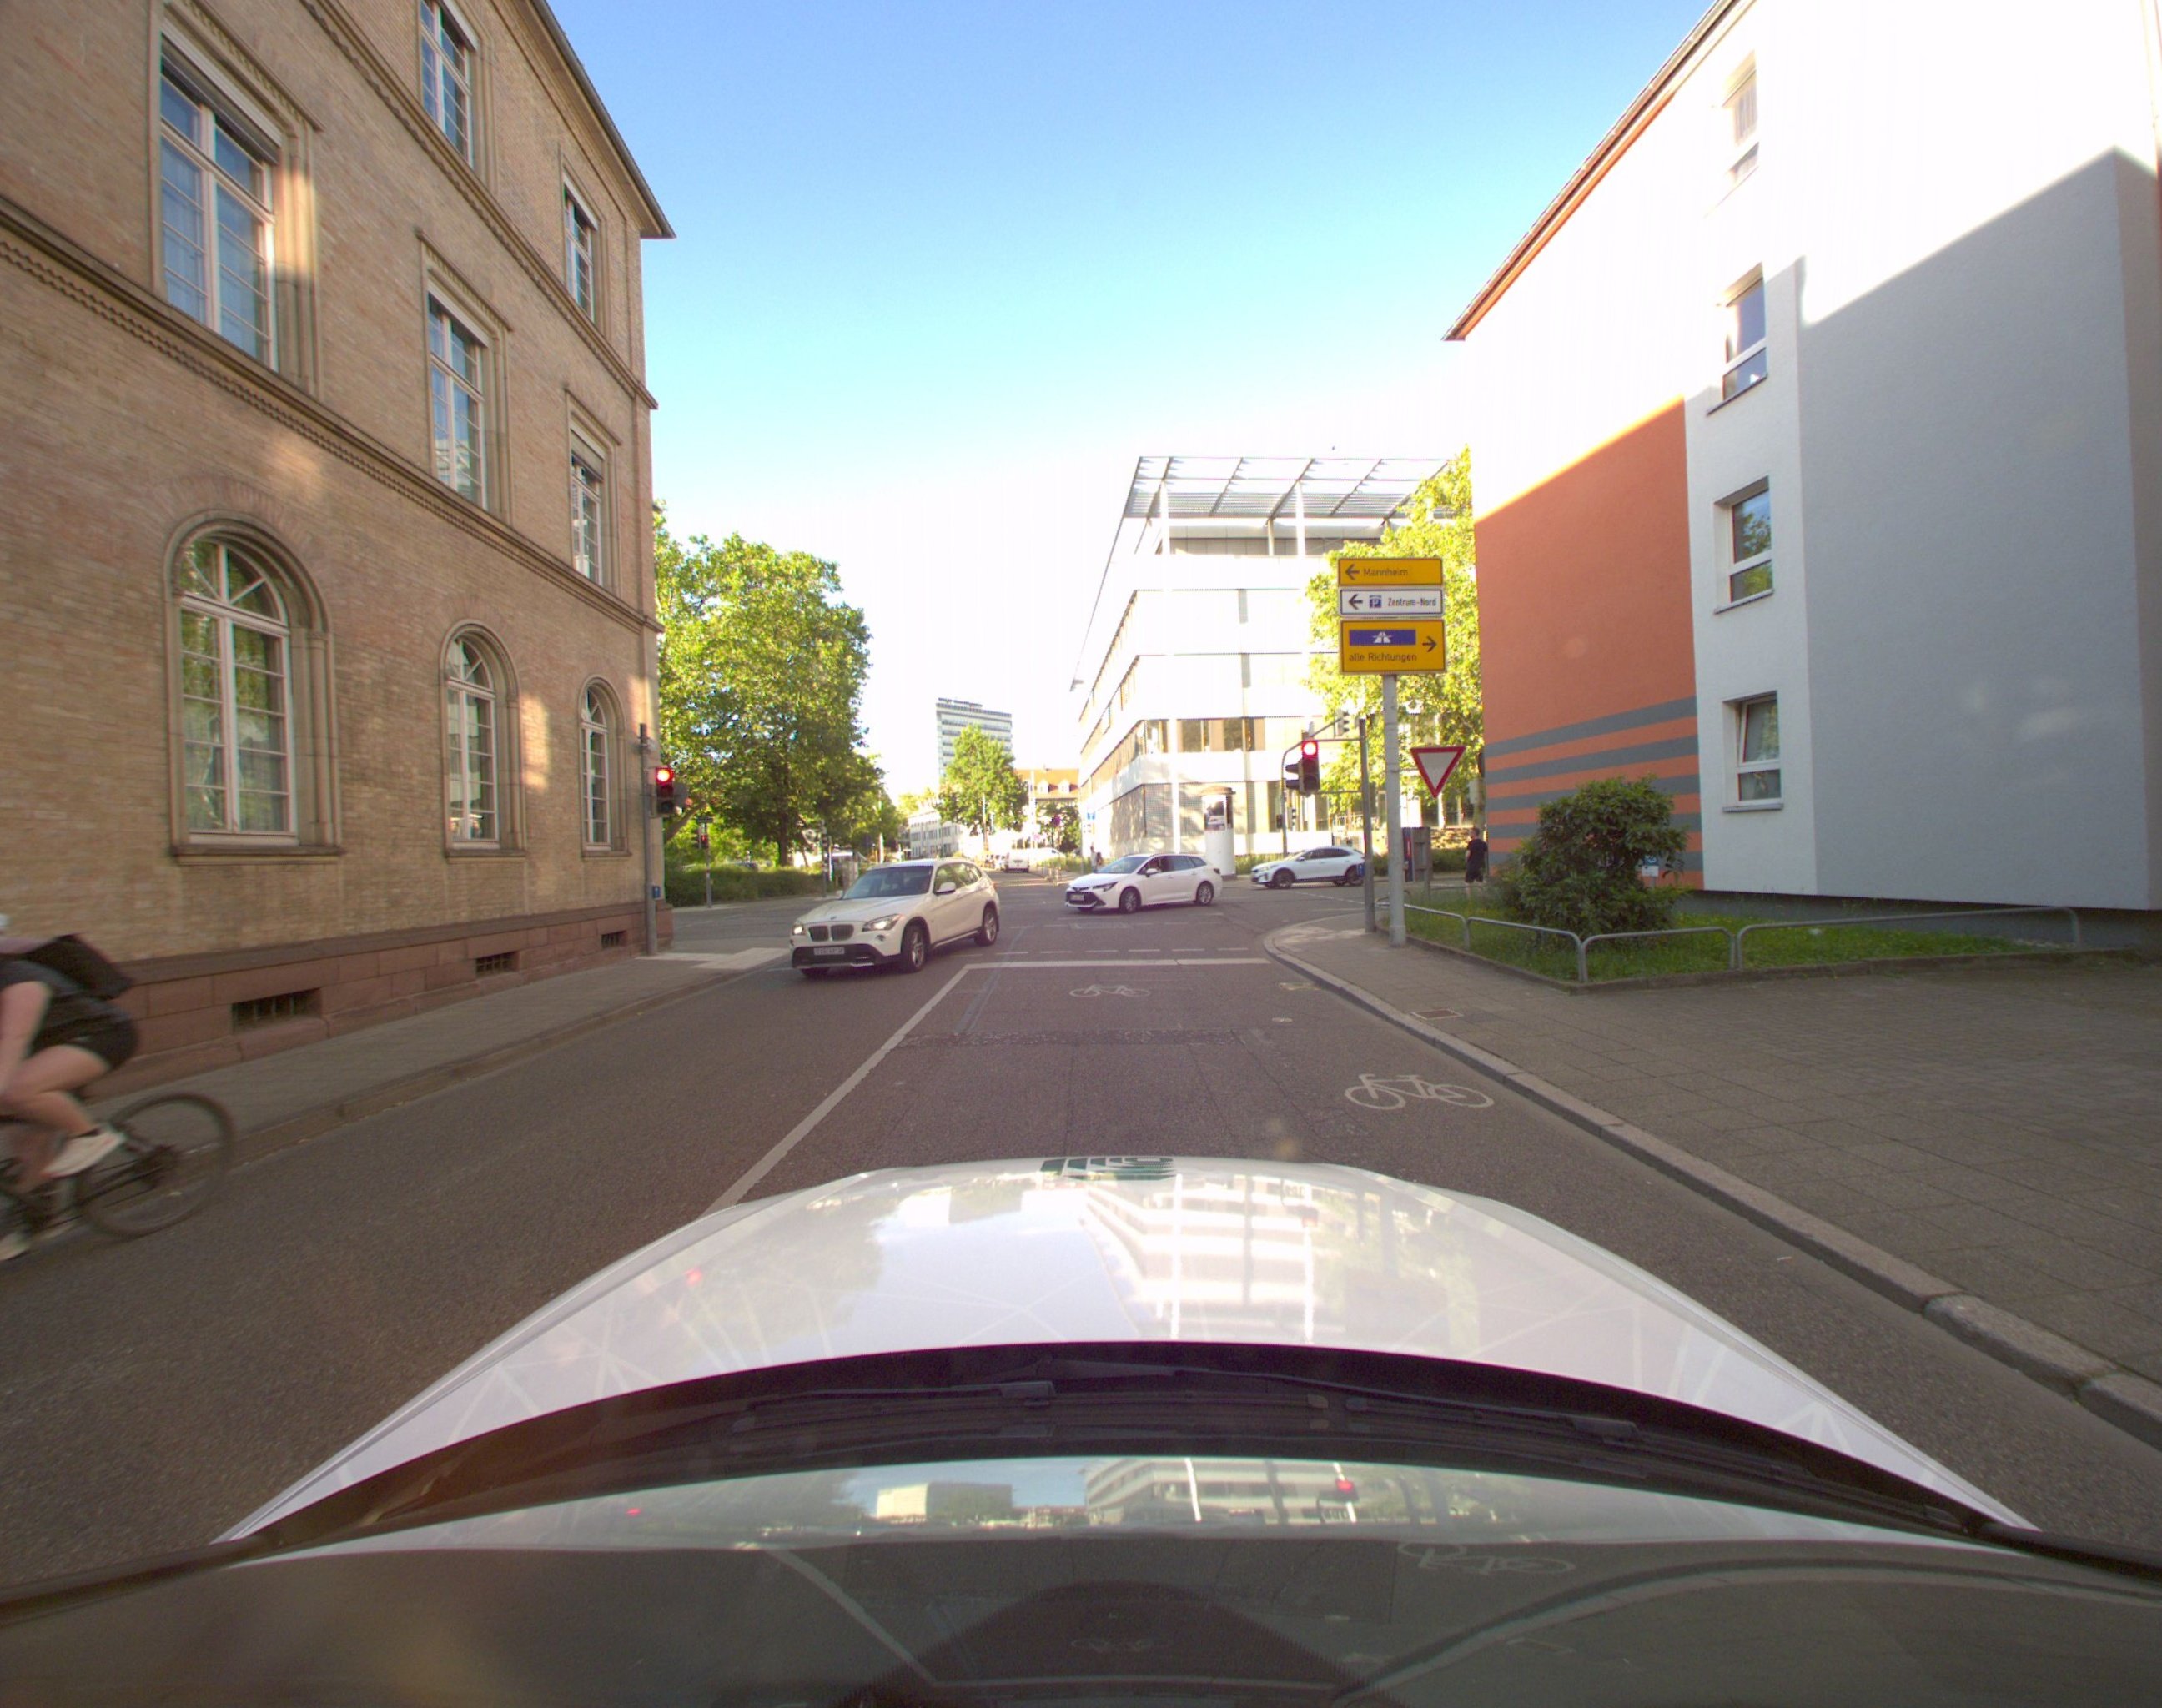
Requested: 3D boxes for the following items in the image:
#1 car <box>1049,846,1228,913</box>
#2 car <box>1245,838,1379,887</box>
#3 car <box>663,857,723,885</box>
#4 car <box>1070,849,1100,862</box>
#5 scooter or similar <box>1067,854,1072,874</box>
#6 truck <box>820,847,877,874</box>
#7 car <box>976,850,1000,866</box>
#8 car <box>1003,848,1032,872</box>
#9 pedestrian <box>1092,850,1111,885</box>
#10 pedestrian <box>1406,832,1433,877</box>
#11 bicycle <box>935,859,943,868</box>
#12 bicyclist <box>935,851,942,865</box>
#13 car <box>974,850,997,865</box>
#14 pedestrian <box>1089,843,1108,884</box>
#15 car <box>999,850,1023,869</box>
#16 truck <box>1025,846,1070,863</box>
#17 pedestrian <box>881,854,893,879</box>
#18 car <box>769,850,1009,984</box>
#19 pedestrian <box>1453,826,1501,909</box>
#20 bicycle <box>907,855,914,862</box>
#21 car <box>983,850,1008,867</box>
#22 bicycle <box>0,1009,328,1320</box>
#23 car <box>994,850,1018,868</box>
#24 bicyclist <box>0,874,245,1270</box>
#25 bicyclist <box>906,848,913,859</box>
[{"bbox_3d":[1.576,0.591,21.032,4.568,1.476,1.870,-2,0,-40],"label":"car"},{"bbox_3d":[8.370,0.293,29.739,4.309,1.575,1.823,-2,0,-2],"label":"car"},{"bbox_3d":[-37.175,1.623,78.122,4.551,2.391,2.069,-3,0,-7],"label":"car"},{"bbox_3d":[0.497,0.164,104.437,3.563,1.546,1.549,-2,0,-17],"label":"car"},{"bbox_3d":[-0.833,0.752,58.753,0.329,1.424,1.333,0,-1,-4],"label":"scooter or similar"},{"bbox_3d":[-21.616,0.586,75.833,4.825,2.399,2.082,-2,0,-8],"label":"truck"},{"bbox_3d":[-10.444,0.474,91.106,1.893,1.655,4.390,-2,1,-16],"label":"car"},{"bbox_3d":[-5.107,0.444,65.017,2.084,1.795,4.403,-2,1,-8],"label":"car"},{"bbox_3d":[0.920,0.601,37.329,0.561,1.540,0.673,-5,1,-16],"label":"pedestrian"},{"bbox_3d":[14.087,0.016,33.883,0.832,1.840,0.709,0,0,0],"label":"pedestrian"},{"bbox_3d":[-15.061,1.003,86.417,0.615,0.969,1.837,-3,0,-7],"label":"bicycle"},{"bbox_3d":[-15.086,0.418,86.431,0.615,1.532,0.901,-3,0,-7],"label":"bicyclist"},{"bbox_3d":[-11.284,0.421,95.969,1.893,1.655,4.390,-2,1,-16],"label":"car"},{"bbox_3d":[0.828,0.443,37.938,0.555,1.850,0.680,-5,1,18],"label":"pedestrian"},{"bbox_3d":[-6.341,0.498,73.276,1.887,1.555,4.403,-2,1,-8],"label":"car"},{"bbox_3d":[-4.254,0.063,103.366,5.351,2.013,1.988,-2,0,-17],"label":"truck"},{"bbox_3d":[-13.729,0.881,57.701,0.704,1.723,0.950,-3,0,-16],"label":"pedestrian"},{"bbox_3d":[-2.716,0.830,12.678,1.673,1.582,4.293,-4,0,15],"label":"car"},{"bbox_3d":[9.042,0.302,18.628,0.704,1.840,0.837,0,0,1],"label":"pedestrian"},{"bbox_3d":[-26.053,0.649,124.273,0.865,1.009,2.407,-5,0,-9],"label":"bicycle"},{"bbox_3d":[-9.034,0.429,85.971,1.893,1.655,4.390,-2,1,-16],"label":"car"},{"bbox_3d":[-4.450,1.326,3.500,0.683,0.924,1.767,-5,0,2],"label":"bicycle"},{"bbox_3d":[-7.275,0.473,78.674,1.889,1.555,4.398,-2,1,-11],"label":"car"},{"bbox_3d":[-4.465,0.859,3.517,0.683,1.475,0.871,-5,0,1],"label":"bicyclist"},{"bbox_3d":[-26.105,-0.080,124.290,0.866,1.515,1.016,-5,0,-9],"label":"bicyclist"}]
